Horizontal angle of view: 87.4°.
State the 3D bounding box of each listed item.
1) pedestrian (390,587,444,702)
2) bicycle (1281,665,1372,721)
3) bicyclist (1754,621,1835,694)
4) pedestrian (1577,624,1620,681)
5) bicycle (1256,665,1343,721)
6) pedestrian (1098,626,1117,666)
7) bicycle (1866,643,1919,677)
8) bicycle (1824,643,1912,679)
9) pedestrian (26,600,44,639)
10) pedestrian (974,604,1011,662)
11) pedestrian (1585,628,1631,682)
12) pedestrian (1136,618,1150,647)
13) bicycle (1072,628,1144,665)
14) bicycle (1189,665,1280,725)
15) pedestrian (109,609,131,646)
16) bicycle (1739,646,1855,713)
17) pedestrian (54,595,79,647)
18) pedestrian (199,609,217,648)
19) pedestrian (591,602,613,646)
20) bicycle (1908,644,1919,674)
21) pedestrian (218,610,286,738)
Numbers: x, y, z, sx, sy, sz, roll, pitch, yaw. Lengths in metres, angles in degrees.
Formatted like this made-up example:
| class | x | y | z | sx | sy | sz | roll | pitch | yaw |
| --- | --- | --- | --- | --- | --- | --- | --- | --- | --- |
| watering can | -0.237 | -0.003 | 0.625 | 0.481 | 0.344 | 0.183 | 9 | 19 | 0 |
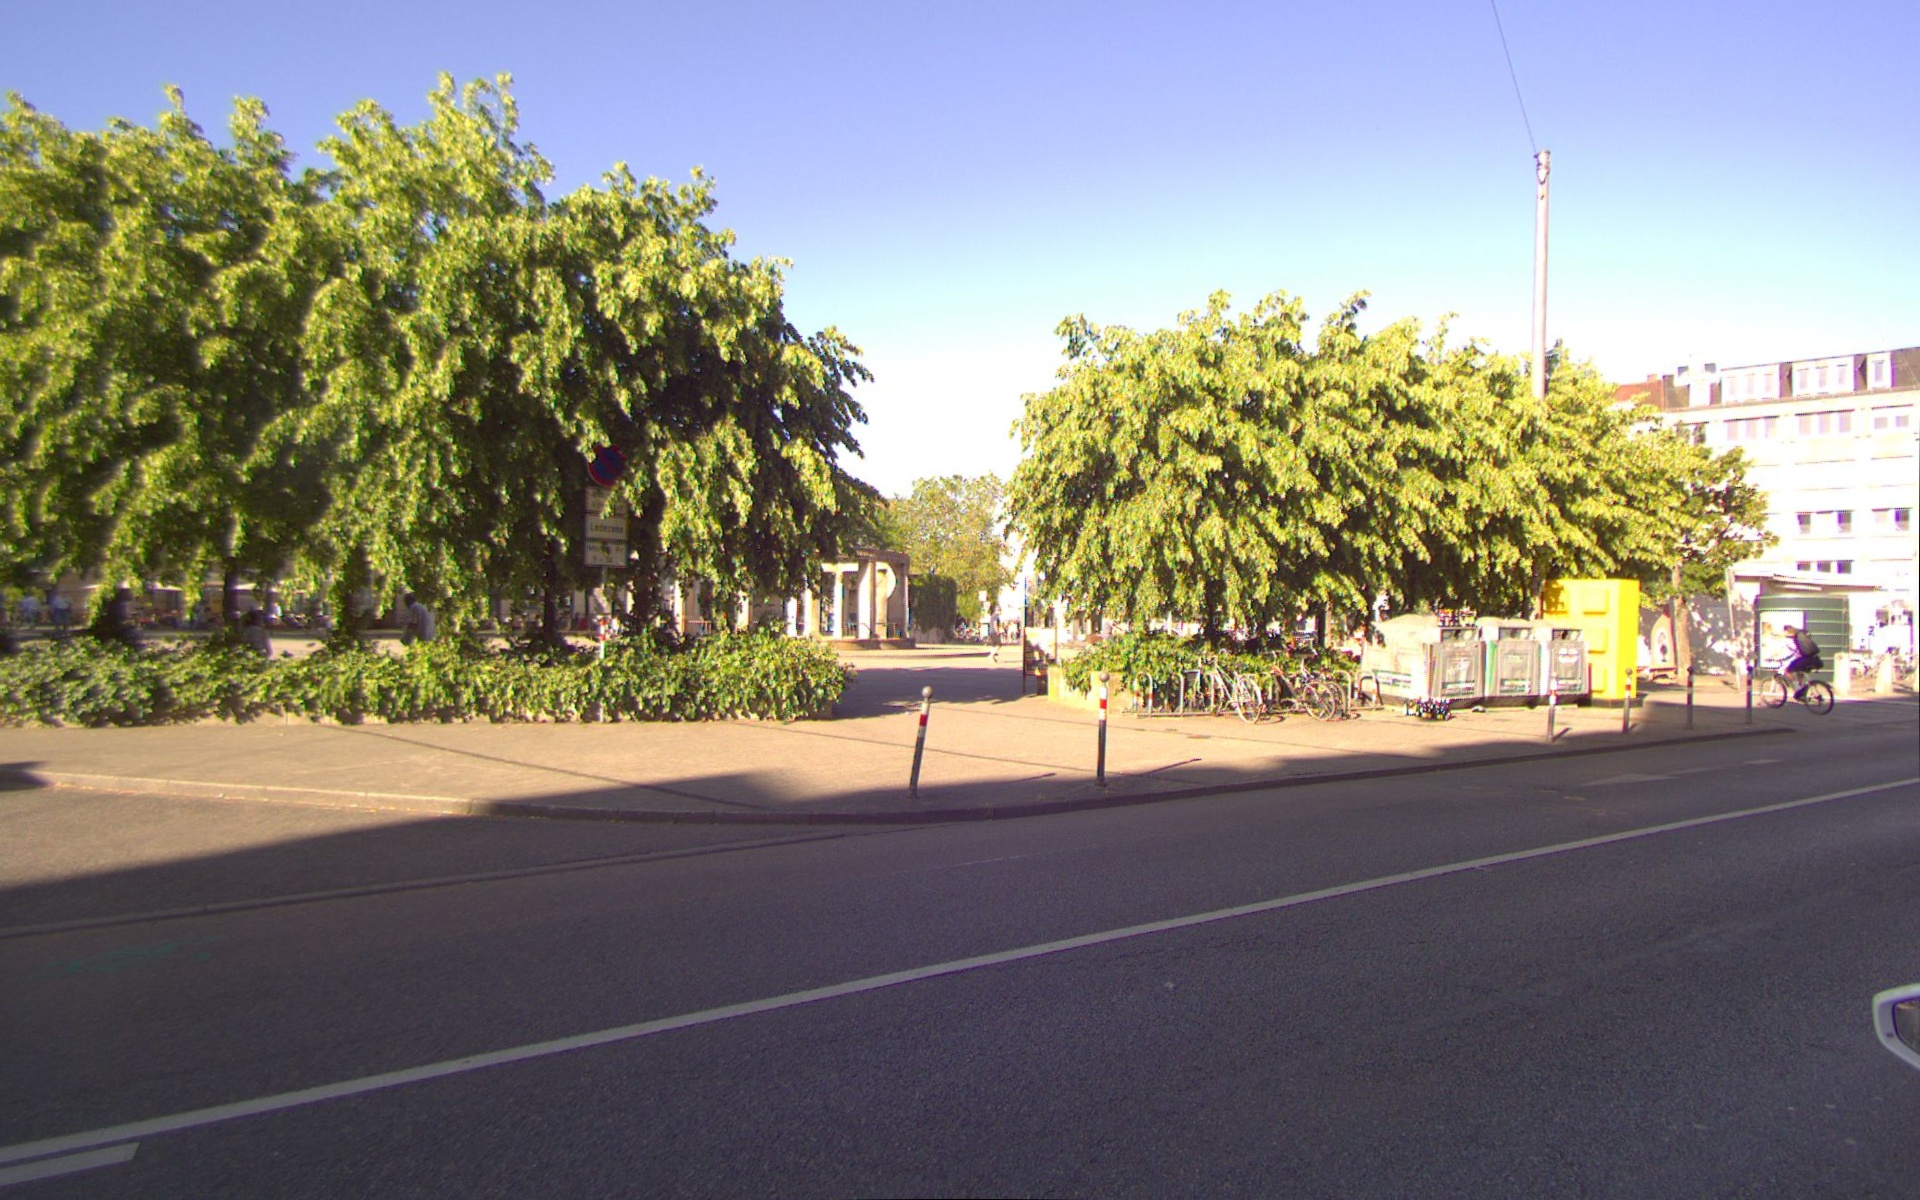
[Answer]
| class | x | y | z | sx | sy | sz | roll | pitch | yaw |
| --- | --- | --- | --- | --- | --- | --- | --- | --- | --- |
| pedestrian | -9.131 | 0.730 | 16.879 | 0.574 | 1.881 | 0.598 | 1 | 0 | 41 |
| bicycle | 5.959 | 1.501 | 16.421 | 0.468 | 0.779 | 1.468 | 2 | 0 | -27 |
| bicyclist | 17.064 | 1.163 | 20.564 | 0.784 | 1.454 | 1.007 | 1 | -1 | -7 |
| pedestrian | 20.318 | 1.655 | 31.951 | 0.734 | 1.748 | 0.898 | 1 | 0 | -26 |
| bicycle | 5.448 | 1.480 | 16.206 | 0.435 | 0.779 | 1.469 | 2 | 0 | -25 |
| pedestrian | 7.546 | 2.343 | 51.394 | 0.670 | 2.040 | 0.579 | 2 | 0 | -23 |
| bicycle | 33.164 | 2.114 | 35.134 | 0.796 | 1.119 | 2.072 | 1 | -1 | -30 |
| bicycle | 30.859 | 2.067 | 34.160 | 0.796 | 1.119 | 2.072 | 1 | -1 | -30 |
| pedestrian | -43.930 | 0.912 | 47.715 | 0.597 | 1.816 | 0.575 | 2 | 0 | -44 |
| pedestrian | 0.998 | 1.016 | 31.054 | 0.918 | 1.775 | 0.728 | 2 | 0 | -15 |
| pedestrian | 20.494 | 1.718 | 31.793 | 0.727 | 1.658 | 0.983 | 1 | 0 | -26 |
| pedestrian | 11.413 | 2.036 | 62.643 | 0.591 | 1.816 | 0.581 | 1 | 0 | -12 |
| bicycle | 4.314 | 1.346 | 29.196 | 2.026 | 1.030 | 0.502 | 2 | 0 | -17 |
| bicycle | 4.221 | 1.446 | 15.568 | 0.467 | 0.779 | 1.653 | 2 | 0 | -20 |
| pedestrian | -41.979 | 1.376 | 50.174 | 0.571 | 1.816 | 0.601 | 1 | 0 | 19 |
| bicycle | 17.068 | 1.604 | 20.541 | 0.784 | 1.249 | 1.772 | 1 | -1 | -7 |
| pedestrian | -31.829 | 0.753 | 35.789 | 0.597 | 1.816 | 0.576 | 2 | 0 | -40 |
| pedestrian | -36.167 | 1.372 | 48.329 | 0.579 | 1.816 | 0.593 | 2 | 0 | -44 |
| pedestrian | -14.325 | 0.945 | 40.205 | 0.579 | 1.744 | 0.593 | 2 | 0 | -44 |
| bicycle | 37.127 | 2.249 | 37.713 | 0.796 | 1.119 | 2.072 | 1 | -1 | -30 |
| pedestrian | -10.719 | 1.098 | 15.235 | 0.722 | 1.881 | 0.578 | 2 | 0 | -28 |
